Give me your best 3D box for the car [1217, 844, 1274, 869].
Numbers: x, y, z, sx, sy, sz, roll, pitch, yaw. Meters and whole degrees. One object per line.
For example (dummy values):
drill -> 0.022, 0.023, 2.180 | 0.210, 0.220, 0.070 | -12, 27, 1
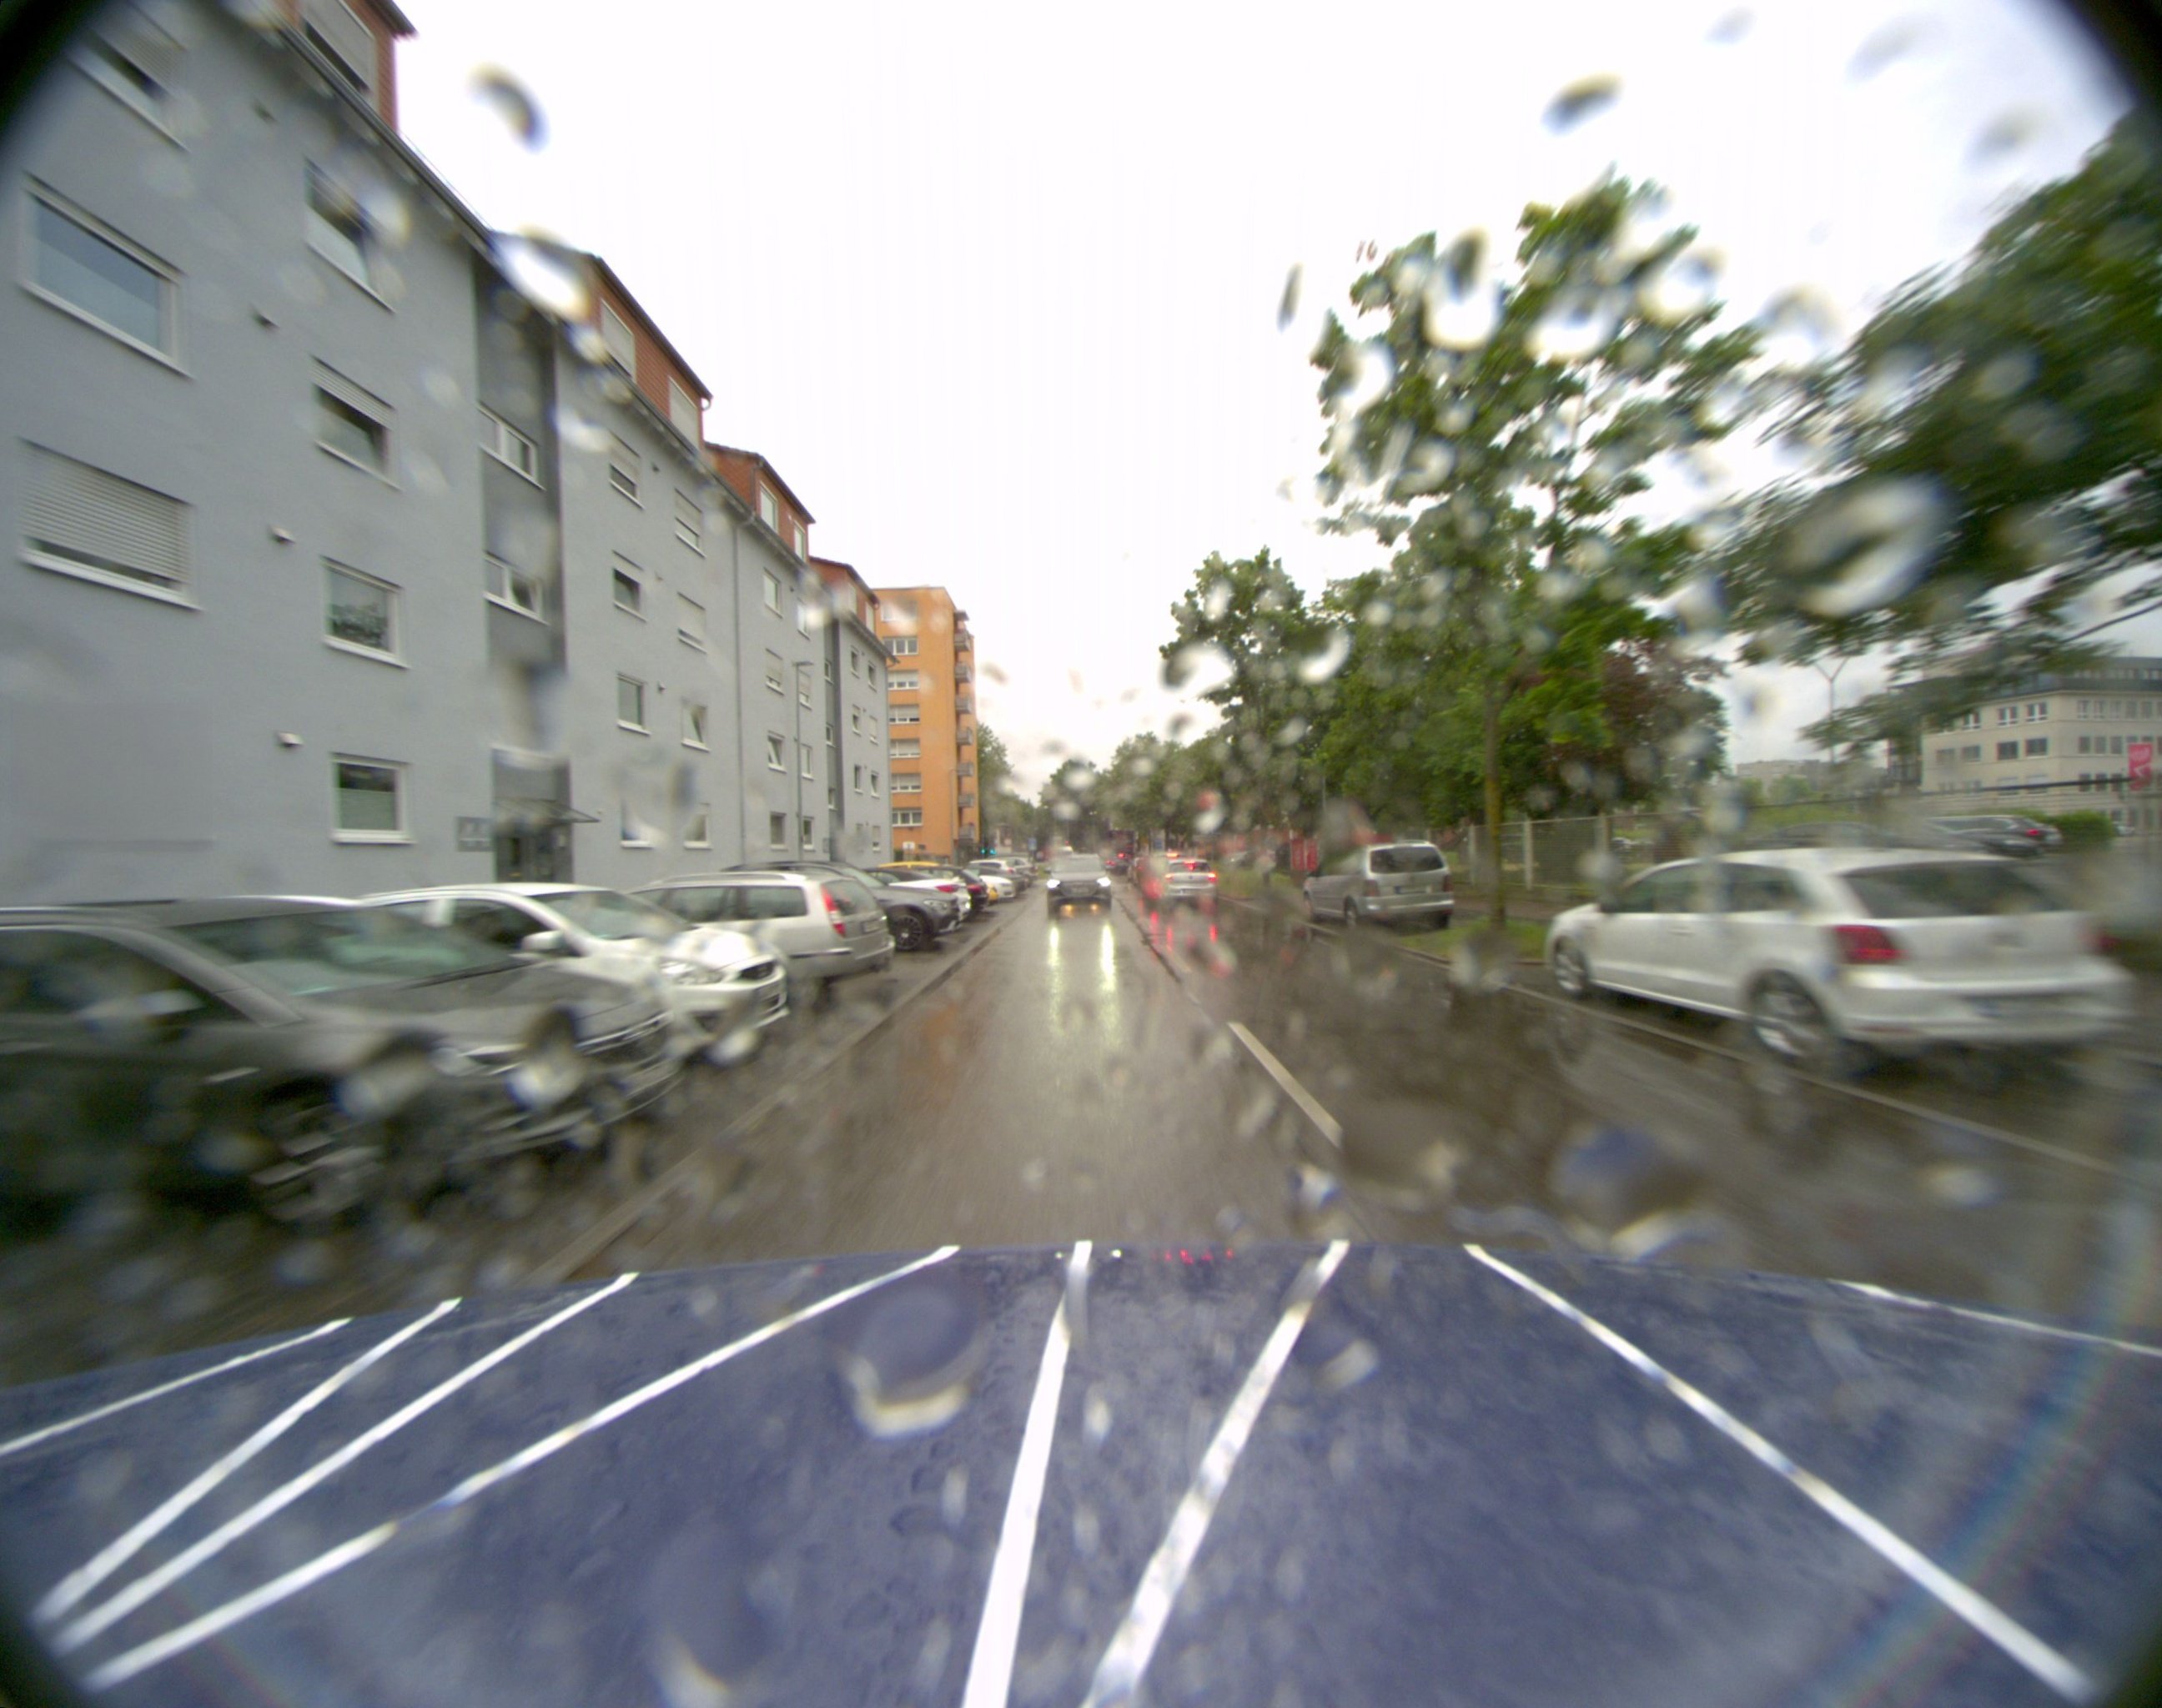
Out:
car -> 12.634, 0.177, 58.237 | 4.006, 1.751, 1.995 | -3, 1, -35

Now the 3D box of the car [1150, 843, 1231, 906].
car -> 3.339, 0.566, 23.964 | 2.070, 1.732, 4.174 | -2, 1, 2

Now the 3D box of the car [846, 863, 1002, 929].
car -> -3.966, 1.061, 19.601 | 3.618, 1.479, 1.541 | -2, 1, 2

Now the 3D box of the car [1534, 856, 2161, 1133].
car -> 5.559, 0.798, 6.106 | 1.694, 1.445, 3.718 | -2, 1, 2

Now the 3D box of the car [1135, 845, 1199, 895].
car -> 3.291, 0.562, 29.890 | 2.070, 1.732, 4.174 | -2, 1, 1

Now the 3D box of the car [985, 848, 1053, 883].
car -> -3.915, 0.716, 48.368 | 3.996, 2.002, 2.000 | -2, 1, 2

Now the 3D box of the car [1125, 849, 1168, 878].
car -> 3.625, 0.505, 42.621 | 2.070, 1.436, 4.174 | -2, 1, 1

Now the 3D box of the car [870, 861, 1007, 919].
car -> -4.108, 1.037, 22.263 | 3.618, 1.479, 1.541 | -2, 1, 2

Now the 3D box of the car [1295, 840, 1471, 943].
car -> 5.701, 0.616, 14.950 | 1.882, 1.672, 4.037 | -2, 1, 1

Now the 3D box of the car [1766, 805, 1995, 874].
car -> 21.537, -0.363, 20.642 | 1.774, 1.660, 3.990 | -3, 1, -31

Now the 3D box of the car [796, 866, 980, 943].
car -> -4.214, 1.088, 16.925 | 3.618, 1.479, 1.541 | -2, 1, 2

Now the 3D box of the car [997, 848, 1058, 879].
car -> -3.741, 0.647, 53.868 | 3.996, 2.002, 2.000 | -2, 1, 2

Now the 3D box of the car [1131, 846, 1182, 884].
car -> 3.603, 0.464, 37.005 | 2.070, 1.663, 4.174 | -2, 1, 1

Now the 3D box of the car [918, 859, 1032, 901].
car -> -4.148, 1.010, 30.108 | 4.171, 1.445, 1.650 | -2, 1, 2

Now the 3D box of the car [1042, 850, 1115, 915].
car -> -0.024, 0.780, 23.080 | 1.961, 1.702, 4.174 | -2, 1, 1

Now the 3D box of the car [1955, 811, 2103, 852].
car -> 42.925, -0.996, 34.488 | 1.774, 1.660, 3.990 | -3, 1, -31

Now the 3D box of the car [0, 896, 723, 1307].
car -> -4.648, 1.111, 4.111 | 4.388, 1.468, 2.050 | -2, 1, 2

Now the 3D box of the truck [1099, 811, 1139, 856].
truck -> 3.995, -2.155, 82.109 | 3.832, 4.360, 10.785 | -2, 1, 1

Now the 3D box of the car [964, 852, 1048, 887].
car -> -3.944, 0.802, 40.163 | 4.171, 1.596, 1.650 | -2, 1, 2

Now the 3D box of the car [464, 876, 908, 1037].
car -> -4.291, 1.093, 8.691 | 4.171, 1.468, 1.650 | -2, 1, 2

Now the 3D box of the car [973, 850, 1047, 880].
car -> -4.192, 0.641, 45.470 | 4.171, 1.596, 1.650 | -2, 1, 2

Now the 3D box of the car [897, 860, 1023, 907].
car -> -4.302, 1.046, 27.420 | 4.171, 1.445, 1.650 | -2, 1, 2

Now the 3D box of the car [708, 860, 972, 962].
car -> -4.239, 0.983, 13.789 | 4.171, 1.561, 1.650 | -2, 1, 2

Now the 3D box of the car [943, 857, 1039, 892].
car -> -4.112, 0.935, 35.306 | 4.171, 1.445, 1.650 | -2, 1, 2

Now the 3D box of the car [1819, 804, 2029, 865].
car -> 25.419, -0.539, 23.056 | 1.774, 1.660, 3.990 | -3, 1, -31

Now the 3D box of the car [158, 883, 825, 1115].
car -> -4.640, 1.105, 6.497 | 4.171, 1.468, 1.920 | -2, 1, 2

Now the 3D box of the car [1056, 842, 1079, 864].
car -> -1.370, -0.120, 81.588 | 2.194, 2.242, 4.884 | -2, 1, 1
